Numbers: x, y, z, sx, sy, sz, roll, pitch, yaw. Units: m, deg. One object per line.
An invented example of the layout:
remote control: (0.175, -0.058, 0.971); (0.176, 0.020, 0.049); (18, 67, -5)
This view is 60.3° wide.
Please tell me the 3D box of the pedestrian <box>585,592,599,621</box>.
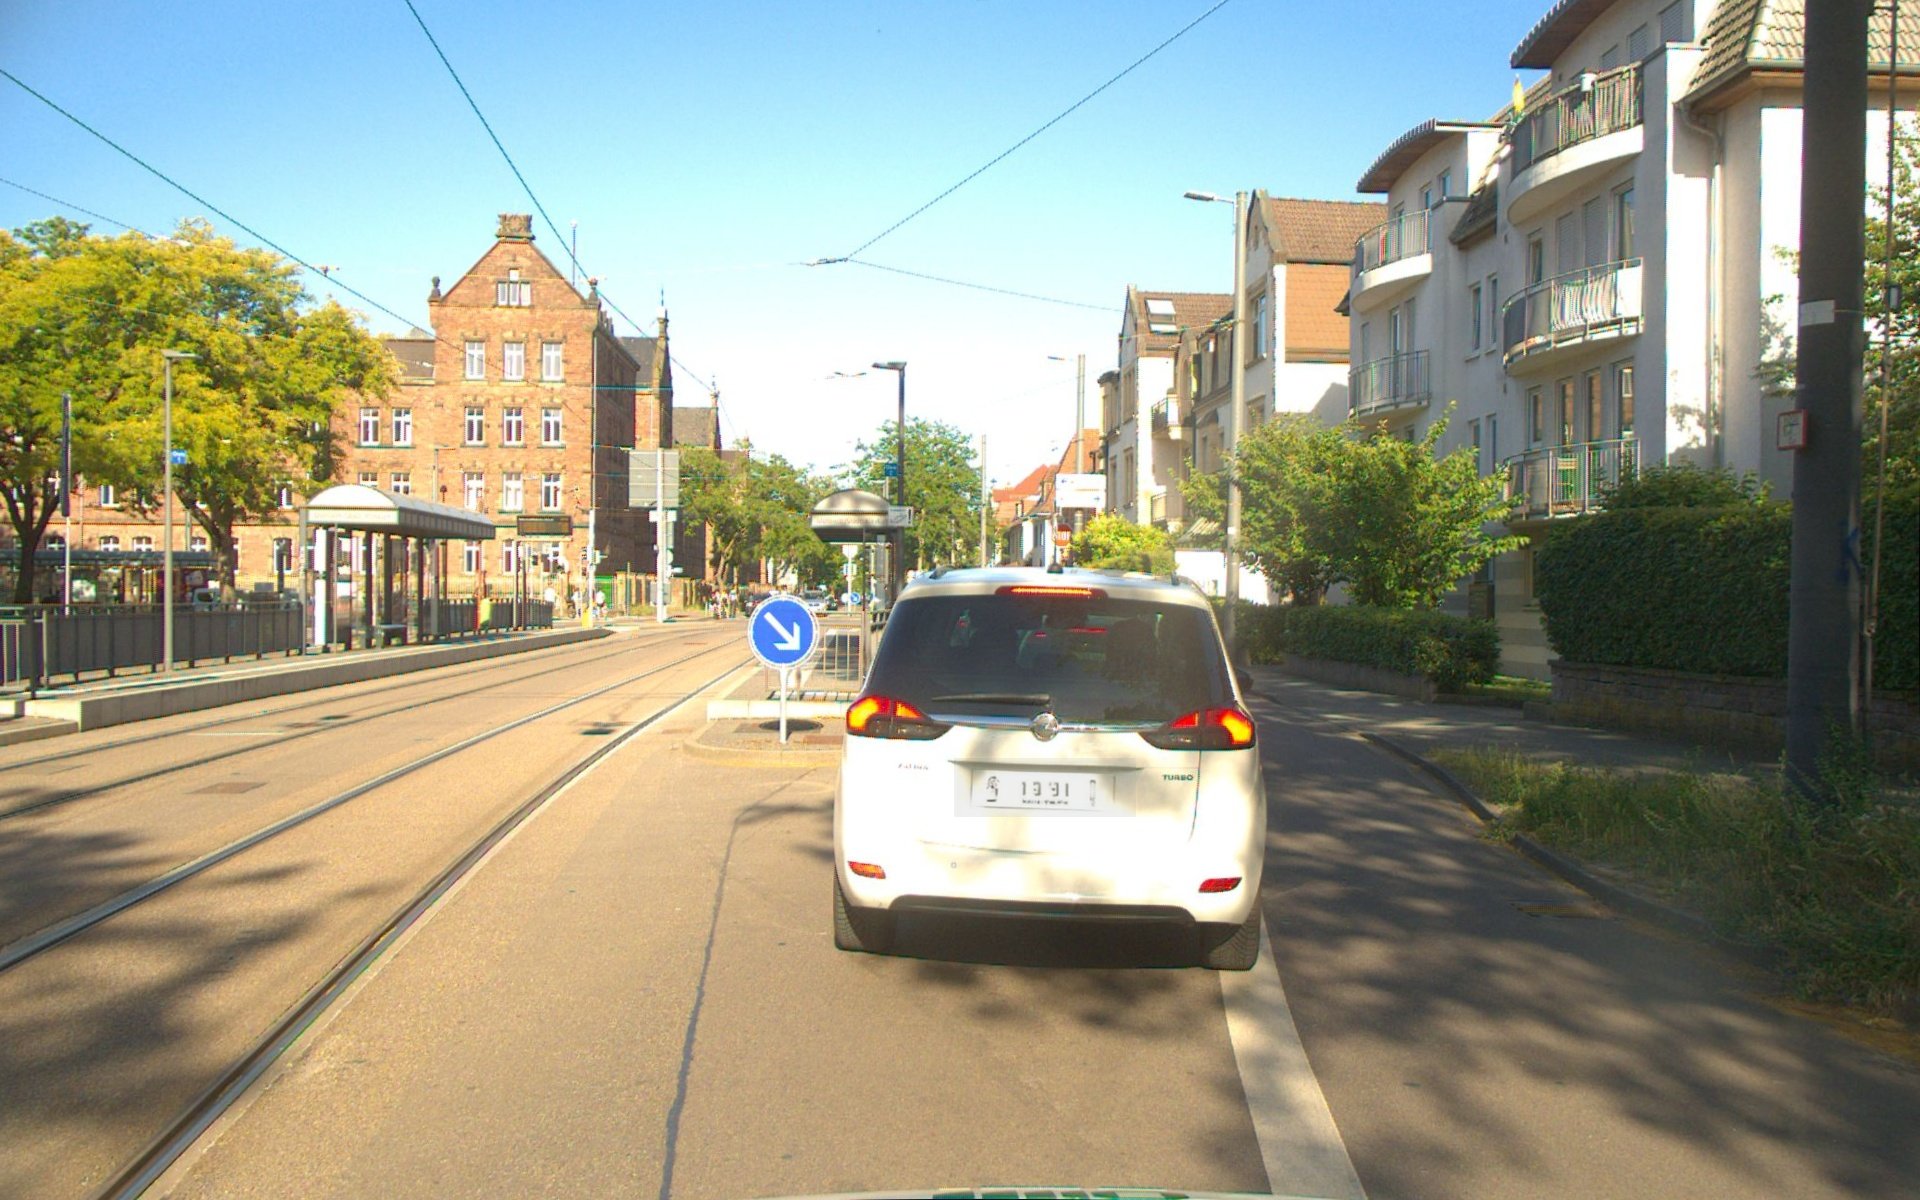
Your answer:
pedestrian: (-21.123, 0.362, 94.982); (0.640, 1.640, 0.711); (1, -1, 1)

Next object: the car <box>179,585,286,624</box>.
car: (-32.445, 0.215, 73.829); (3.908, 1.658, 1.817); (1, 0, -4)

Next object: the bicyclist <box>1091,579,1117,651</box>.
bicyclist: (3.461, 0.349, 39.780); (0.603, 1.716, 0.779); (0, 0, 3)

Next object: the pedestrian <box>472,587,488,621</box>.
pedestrian: (-25.641, 0.219, 88.374); (0.754, 1.805, 0.717); (1, -1, -18)

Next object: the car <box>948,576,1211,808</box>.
car: (1.067, 0.642, 13.783); (1.866, 1.625, 4.003); (0, 0, 6)

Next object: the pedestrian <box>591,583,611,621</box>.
pedestrian: (-19.253, 0.105, 88.677); (0.789, 2.049, 0.711); (1, -1, -38)

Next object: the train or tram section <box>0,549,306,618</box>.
train or tram section: (-40.746, -0.767, 79.432); (17.048, 3.210, 3.343); (0, 0, -6)

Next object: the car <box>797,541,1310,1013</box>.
car: (0.548, 0.626, 8.031); (1.866, 1.690, 4.003); (0, 0, 6)

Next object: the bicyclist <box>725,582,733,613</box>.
bicyclist: (-15.228, -0.160, 108.971); (0.488, 2.049, 0.572); (0, 0, -1)

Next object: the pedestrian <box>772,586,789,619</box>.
pedestrian: (-10.547, 0.162, 97.159); (0.732, 1.934, 0.804); (1, -1, -25)

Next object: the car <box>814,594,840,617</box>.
car: (-10.351, 0.432, 128.908); (1.711, 1.746, 3.999); (1, 0, -1)

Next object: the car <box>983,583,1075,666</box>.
car: (1.446, 0.497, 36.128); (1.868, 1.690, 4.000); (0, 0, 0)

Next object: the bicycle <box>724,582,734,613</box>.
bicycle: (-15.226, -0.157, 109.020); (0.477, 2.049, 1.405); (0, 0, -1)

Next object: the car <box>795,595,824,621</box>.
car: (-10.466, 0.588, 115.053); (1.711, 1.746, 3.999); (1, 0, -1)

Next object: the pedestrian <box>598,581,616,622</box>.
pedestrian: (-18.080, 0.081, 84.701); (0.782, 2.049, 0.717); (1, -1, -18)

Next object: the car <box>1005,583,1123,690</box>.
car: (1.789, 0.571, 28.295); (1.867, 1.690, 4.002); (0, 0, 4)

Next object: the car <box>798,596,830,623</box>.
car: (-9.449, 0.611, 107.211); (1.711, 1.746, 3.999); (1, 0, -1)

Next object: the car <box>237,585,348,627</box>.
car: (-28.114, 0.261, 69.756); (3.908, 1.658, 1.817); (1, 0, -4)

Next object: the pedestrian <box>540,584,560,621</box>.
pedestrian: (-21.975, 0.138, 88.654); (0.791, 1.934, 0.744); (1, -1, 13)

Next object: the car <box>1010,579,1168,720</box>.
car: (1.748, 0.580, 21.634); (1.866, 1.653, 4.003); (0, 0, 6)

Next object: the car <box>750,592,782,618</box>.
car: (-13.302, 0.347, 113.507); (1.711, 1.746, 3.999); (1, 0, -1)

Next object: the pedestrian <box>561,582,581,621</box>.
pedestrian: (-20.707, 0.077, 88.033); (0.788, 2.049, 0.712); (1, -1, -34)

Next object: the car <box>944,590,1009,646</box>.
car: (0.504, 0.548, 53.091); (1.869, 1.690, 3.998); (0, 0, -2)

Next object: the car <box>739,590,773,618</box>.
car: (-13.157, 0.289, 106.843); (1.711, 1.746, 3.999); (1, 0, -1)
